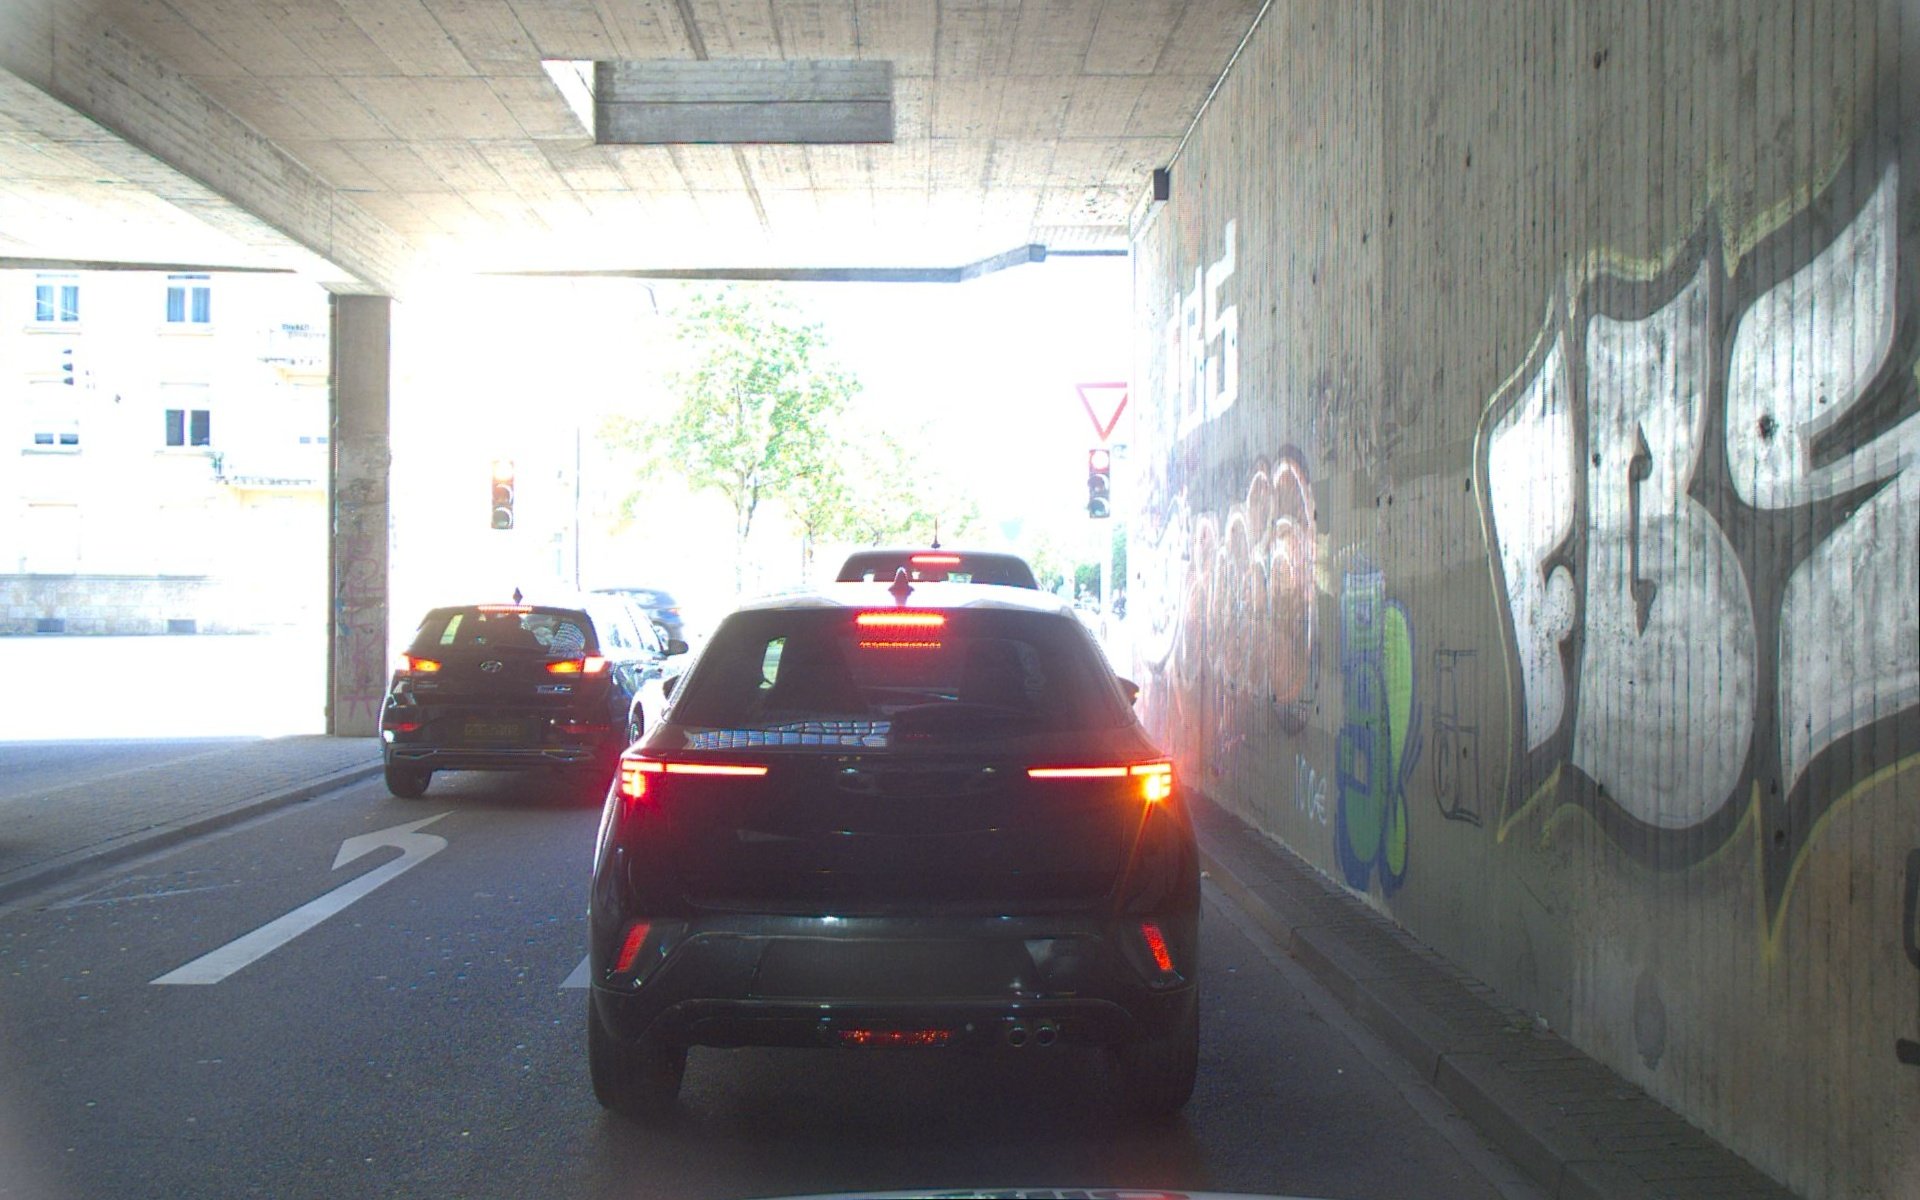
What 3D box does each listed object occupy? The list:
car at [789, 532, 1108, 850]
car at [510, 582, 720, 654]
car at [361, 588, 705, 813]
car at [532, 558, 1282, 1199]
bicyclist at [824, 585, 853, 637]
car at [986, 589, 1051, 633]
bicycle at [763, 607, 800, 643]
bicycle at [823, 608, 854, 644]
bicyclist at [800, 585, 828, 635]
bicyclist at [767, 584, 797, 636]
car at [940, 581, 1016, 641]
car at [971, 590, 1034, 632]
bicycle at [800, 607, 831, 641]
[{"bbox_3d":[-0.095,0.534,11.893,1.906,1.892,3.963,0,0,-1],"label":"car"},{"bbox_3d":[-7.753,0.388,37.421,4.293,1.579,1.884,0,0,4],"label":"car"},{"bbox_3d":[-3.160,0.658,13.089,1.744,1.472,4.177,1,0,-2],"label":"car"},{"bbox_3d":[-0.154,0.673,6.068,1.844,1.565,3.963,0,0,-1],"label":"car"},{"bbox_3d":[-3.820,0.339,51.984,0.713,1.609,0.815,1,-1,9],"label":"bicyclist"},{"bbox_3d":[2.468,0.484,69.046,2.173,1.749,4.463,0,-1,9],"label":"car"},{"bbox_3d":[-5.556,0.772,51.430,0.716,1.086,1.690,1,0,9],"label":"bicycle"},{"bbox_3d":[-3.810,0.804,52.008,0.612,1.086,1.690,1,0,9],"label":"bicycle"},{"bbox_3d":[-4.786,0.336,54.319,0.713,1.609,0.815,1,-1,9],"label":"bicyclist"},{"bbox_3d":[-5.538,0.307,51.464,0.713,1.609,0.815,1,-1,9],"label":"bicyclist"},{"bbox_3d":[0.497,0.337,44.187,1.927,1.523,3.896,0,-1,1],"label":"car"},{"bbox_3d":[1.622,0.442,62.224,1.926,1.523,3.899,0,-1,8],"label":"car"},{"bbox_3d":[-4.765,0.785,54.539,0.612,1.086,1.690,1,0,9],"label":"bicycle"}]
